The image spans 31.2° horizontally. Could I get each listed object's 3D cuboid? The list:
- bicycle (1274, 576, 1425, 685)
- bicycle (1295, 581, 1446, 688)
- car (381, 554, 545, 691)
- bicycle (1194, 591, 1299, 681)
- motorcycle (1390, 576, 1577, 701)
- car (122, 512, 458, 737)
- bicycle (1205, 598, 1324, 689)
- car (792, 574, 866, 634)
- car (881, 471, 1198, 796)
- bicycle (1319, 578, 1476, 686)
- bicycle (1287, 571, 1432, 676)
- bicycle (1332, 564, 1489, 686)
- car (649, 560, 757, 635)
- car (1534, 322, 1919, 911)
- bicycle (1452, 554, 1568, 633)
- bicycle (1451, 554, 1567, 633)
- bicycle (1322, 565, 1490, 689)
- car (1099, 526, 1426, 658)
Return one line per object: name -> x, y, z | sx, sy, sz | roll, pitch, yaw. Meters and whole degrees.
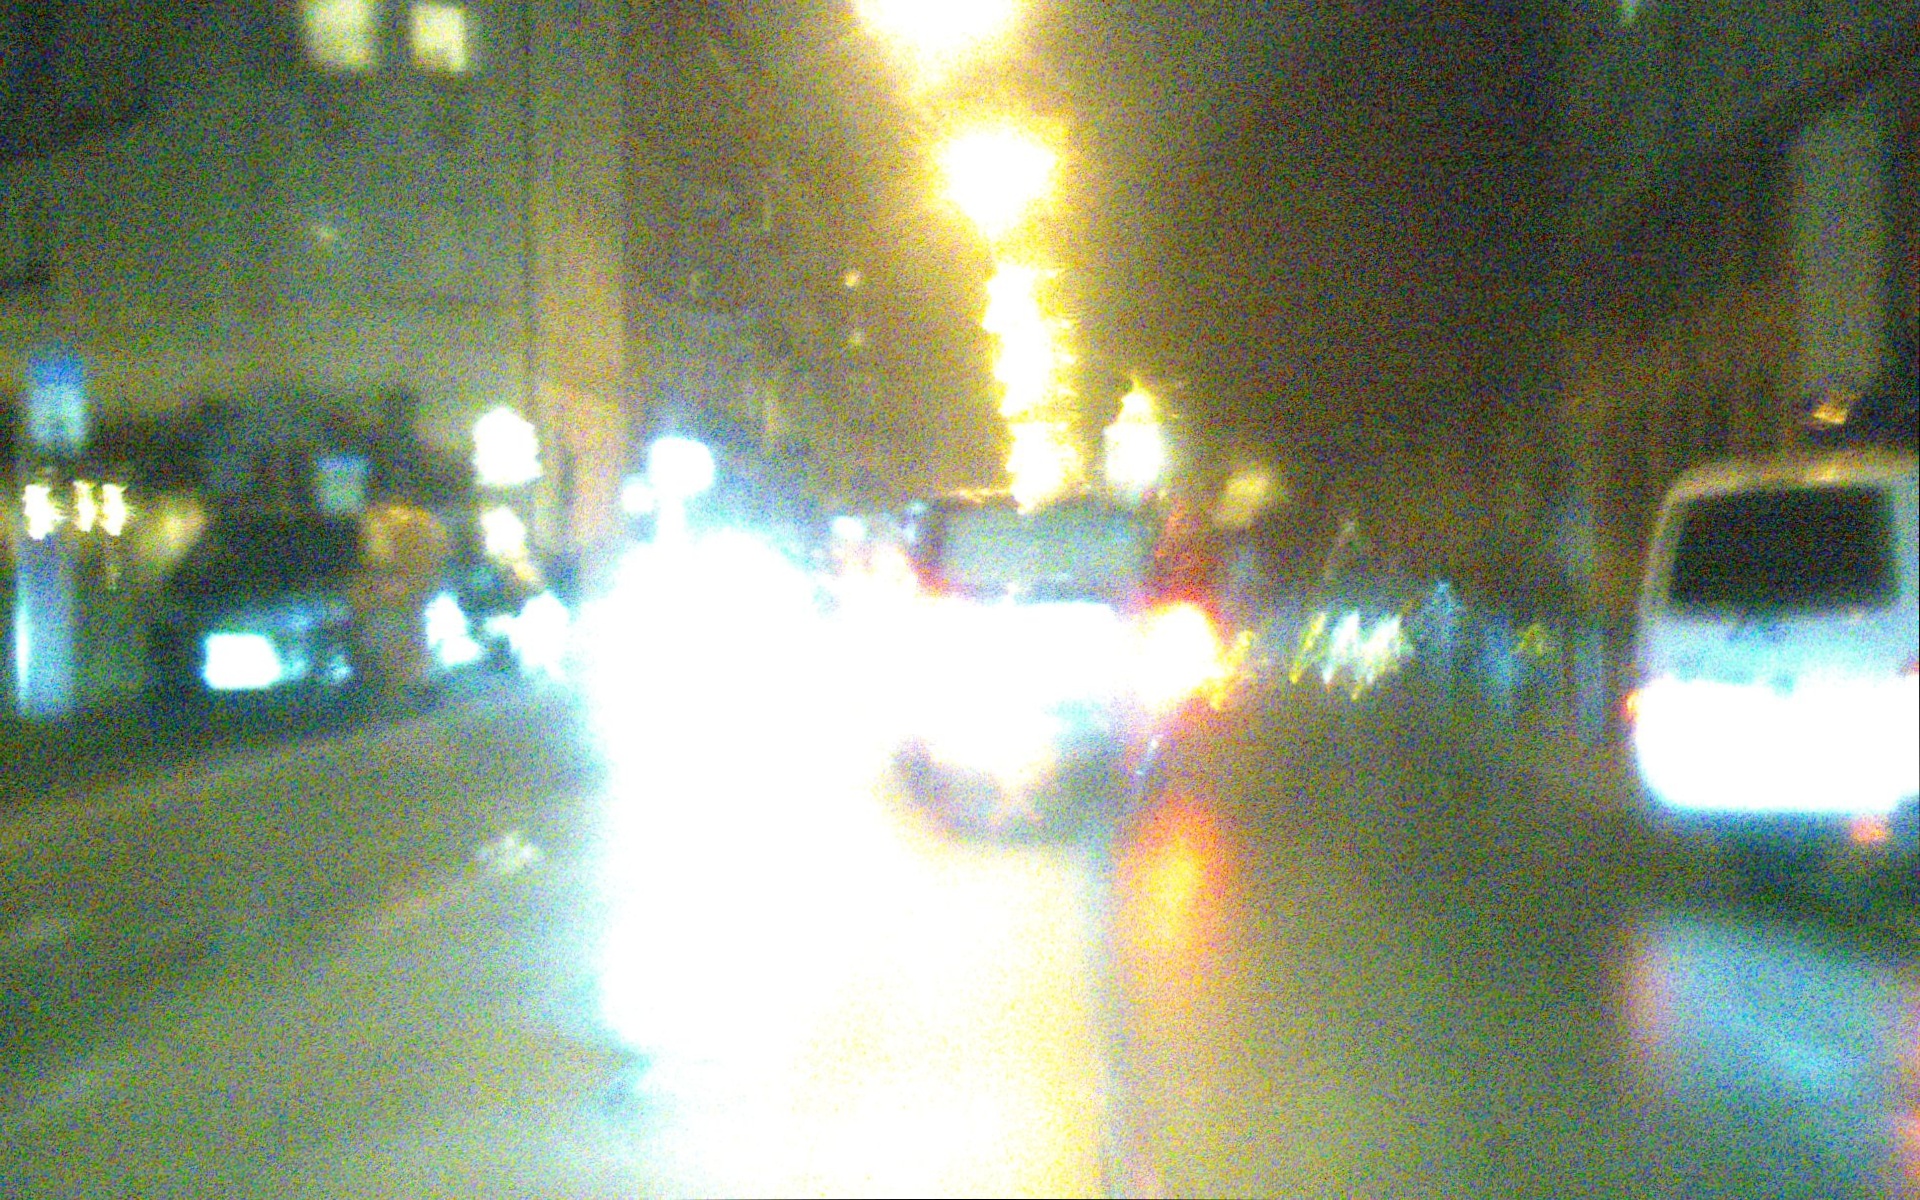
bicycle -> 4.325, 0.336, 38.178 | 1.595, 1.154, 0.418 | -1, 1, -2
bicycle -> 4.505, 0.374, 37.738 | 1.595, 1.154, 0.418 | 0, 1, -2
car -> -5.778, 0.229, 39.704 | 1.546, 1.438, 3.564 | 2, 1, -13
bicycle -> 3.219, 0.401, 38.654 | 1.132, 0.971, 0.249 | -2, 1, -1
motorcycle -> 5.046, 0.363, 33.176 | 1.632, 1.120, 0.653 | -2, 1, -5
car -> -5.831, 0.172, 30.513 | 1.866, 1.840, 4.827 | 0, 1, 2
bicycle -> 3.236, 0.458, 36.550 | 1.210, 0.944, 0.302 | 1, 1, -2
car -> -3.456, 0.086, 91.620 | 1.686, 1.450, 4.315 | 1, 1, 1
car -> 0.562, 0.215, 23.885 | 1.993, 2.043, 4.000 | 1, 0, 2
bicycle -> 4.682, 0.341, 36.838 | 1.595, 1.108, 0.418 | -1, 1, -2
bicycle -> 4.577, 0.267, 39.378 | 1.596, 1.154, 0.539 | -1, 1, 9
bicycle -> 4.683, 0.258, 35.788 | 1.580, 1.230, 0.418 | -1, 1, 4
car -> -4.885, -0.073, 65.791 | 1.654, 1.354, 4.222 | 1, 1, 1
car -> 5.270, 0.025, 15.888 | 4.926, 2.333, 2.231 | -1, 1, -33
bicycle -> 8.532, -0.100, 53.352 | 1.685, 1.142, 0.429 | -3, 1, -6
bicycle -> 8.600, -0.103, 53.884 | 1.685, 1.142, 0.486 | -3, 1, -6
bicycle -> 4.570, 0.274, 35.273 | 1.664, 1.230, 0.385 | -1, 1, 4
car -> 3.794, -0.107, 43.107 | 3.699, 1.517, 1.657 | -2, 0, -23
